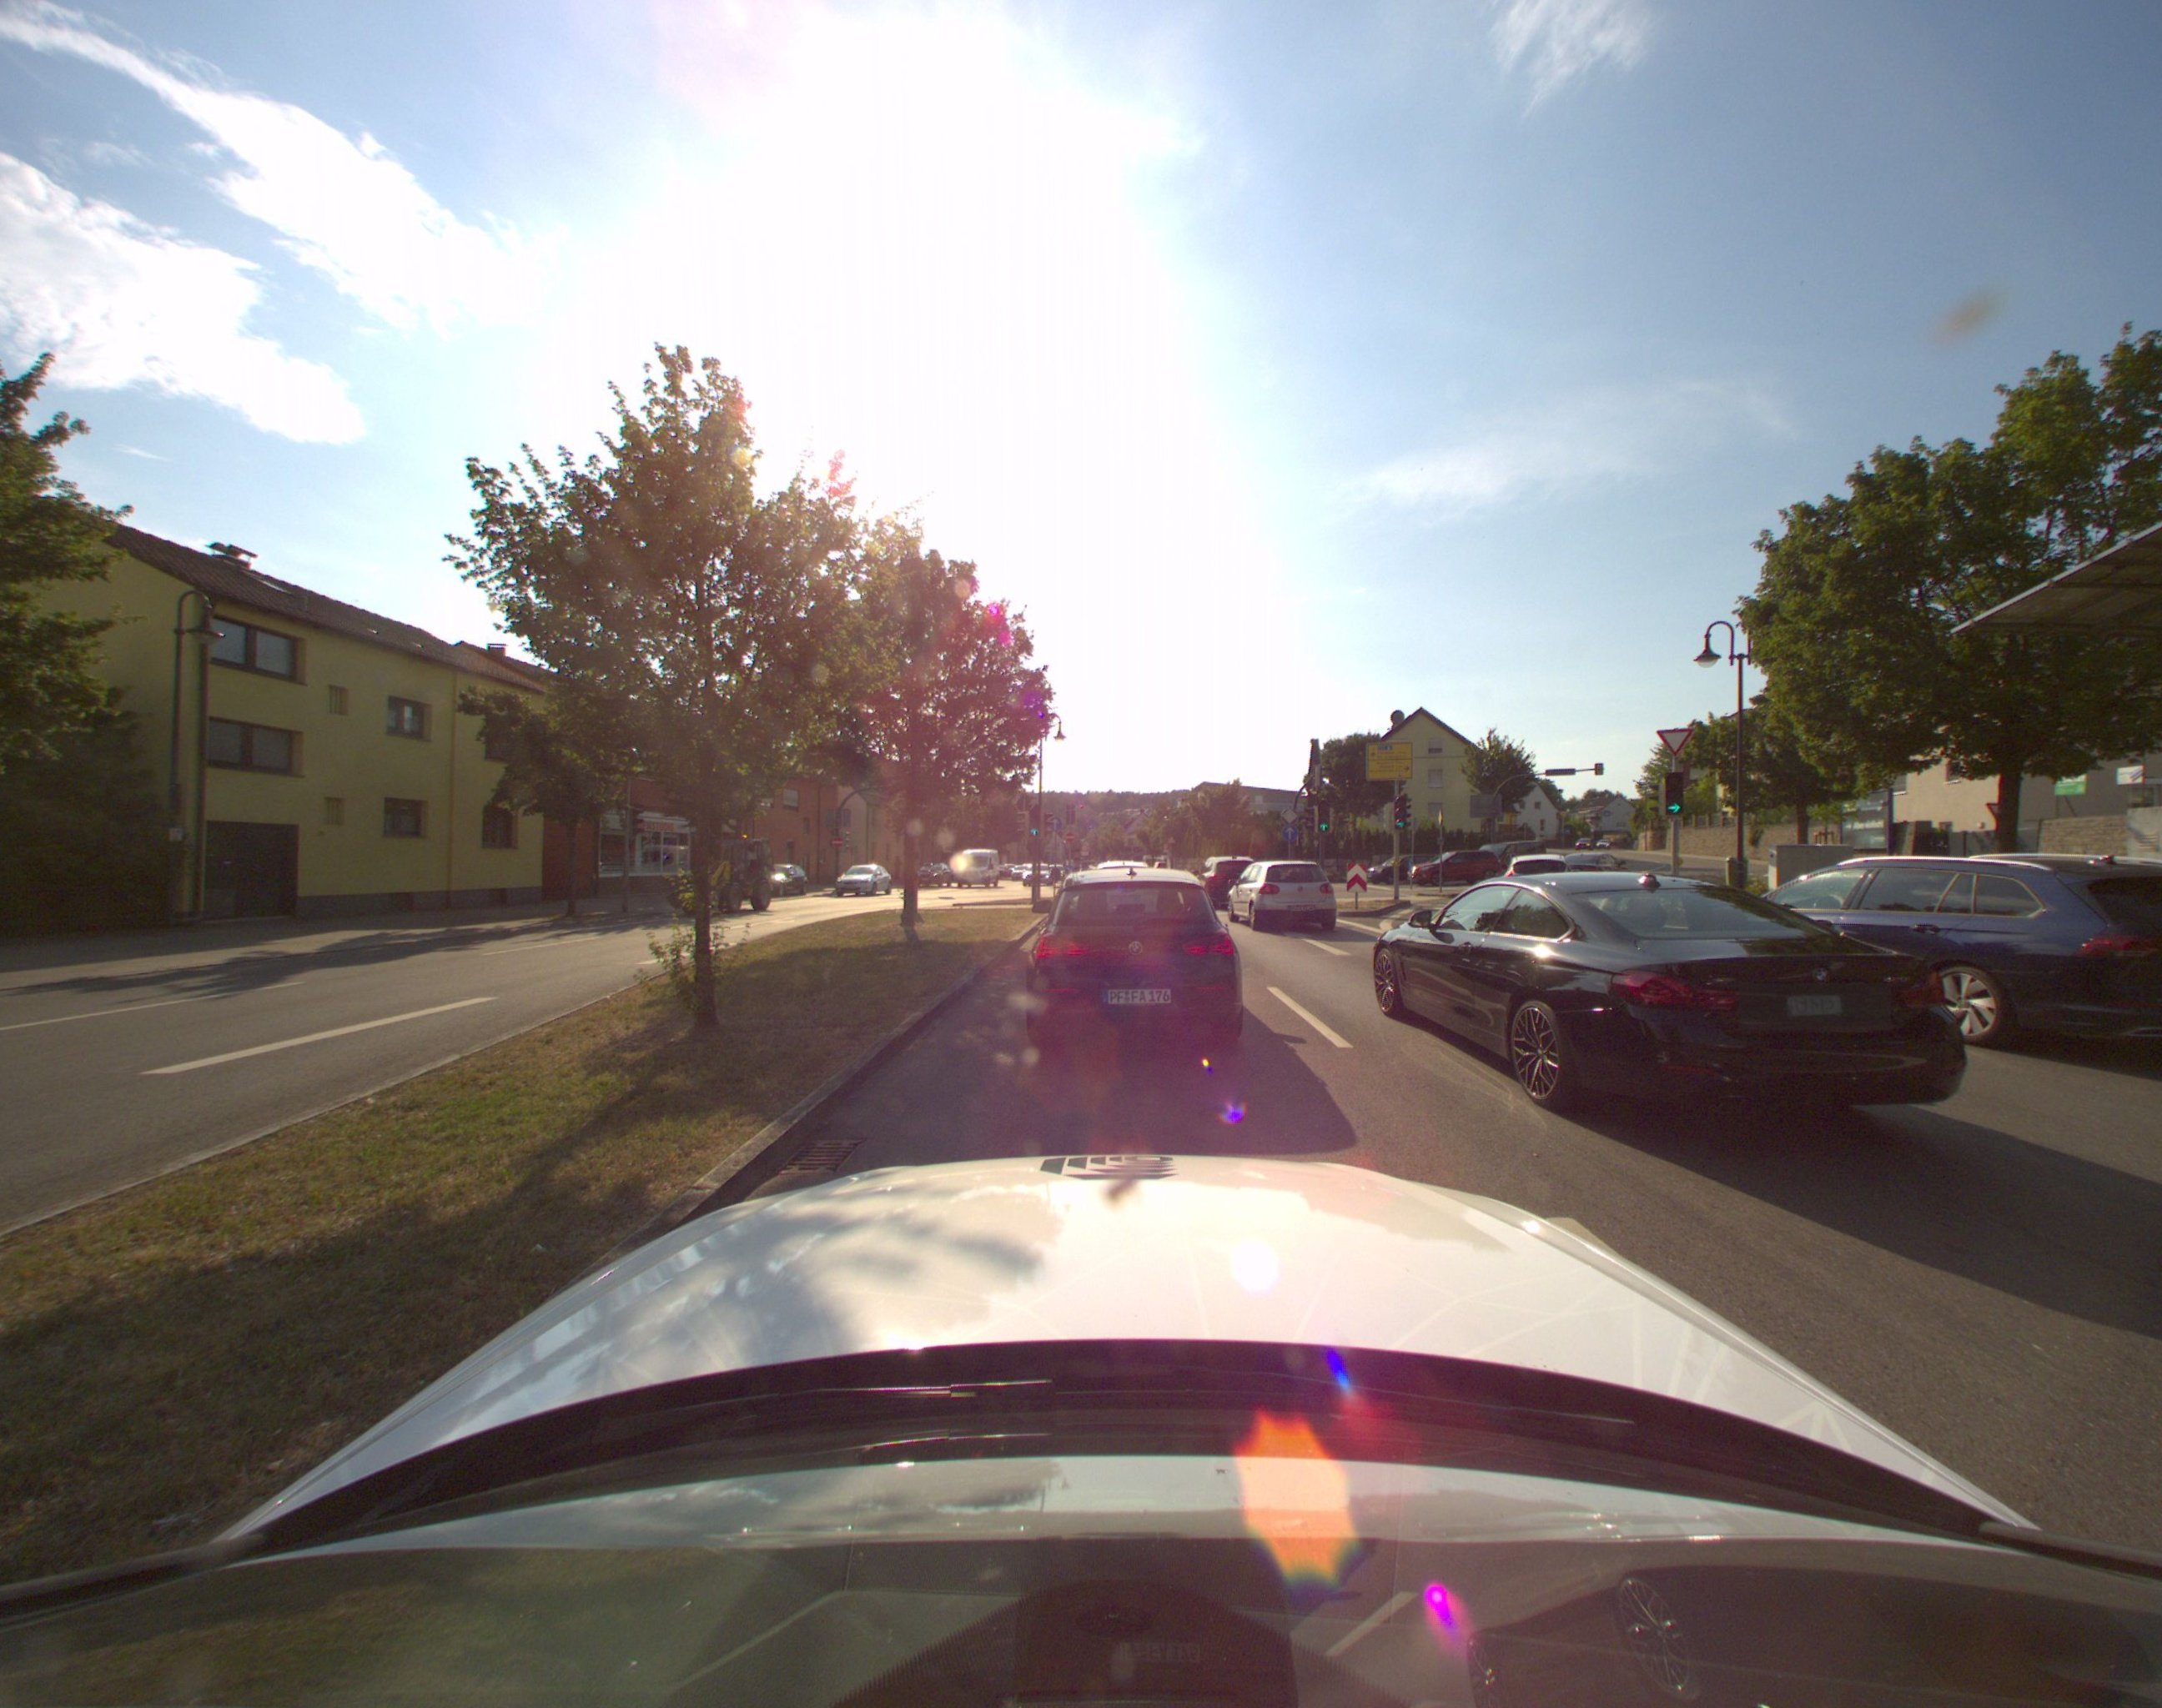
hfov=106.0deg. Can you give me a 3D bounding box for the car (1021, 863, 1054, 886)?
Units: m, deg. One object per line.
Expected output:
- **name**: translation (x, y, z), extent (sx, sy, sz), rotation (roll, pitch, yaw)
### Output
- **car**: translation (-2.930, 1.359, 55.279), extent (1.832, 1.482, 4.002), rotation (-1, 0, 2)

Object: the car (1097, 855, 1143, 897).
- **car**: translation (1.647, 0.874, 34.334), extent (1.781, 1.594, 4.283), rotation (-2, 0, 2)

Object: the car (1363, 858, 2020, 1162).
- **car**: translation (3.644, 0.758, 6.028), extent (1.755, 1.397, 4.283), rotation (-2, 0, 2)

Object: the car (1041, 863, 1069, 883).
- **car**: translation (-2.029, 1.473, 64.396), extent (1.832, 1.482, 4.002), rotation (-1, 0, 2)

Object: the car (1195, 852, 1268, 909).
- **car**: translation (4.828, 0.809, 26.611), extent (1.755, 1.656, 3.905), rotation (-2, 0, 2)

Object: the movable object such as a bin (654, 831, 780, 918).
- **movable object such as a bin**: translation (-11.219, 0.597, 25.470), extent (1.729, 2.442, 4.452), rotation (-1, -1, 3)

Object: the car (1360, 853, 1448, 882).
- **car**: translation (17.361, 0.731, 43.893), extent (3.974, 1.489, 1.848), rotation (0, 0, -1)

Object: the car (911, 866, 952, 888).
- **car**: translation (-10.172, 1.571, 55.802), extent (1.728, 1.301, 3.804), rotation (4, 0, 5)

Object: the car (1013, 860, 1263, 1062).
- **car**: translation (0.508, 0.799, 8.081), extent (1.781, 1.397, 4.283), rotation (-2, 0, 2)

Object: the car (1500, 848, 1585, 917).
- **car**: translation (11.549, 0.658, 20.296), extent (1.602, 1.542, 3.338), rotation (-2, 0, 33)

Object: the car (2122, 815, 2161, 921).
- **car**: translation (18.491, 0.198, 11.920), extent (3.793, 1.632, 1.784), rotation (0, 0, 10)

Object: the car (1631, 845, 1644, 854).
- **car**: translation (109.494, -0.891, 160.246), extent (1.945, 1.680, 4.242), rotation (-2, -1, 36)

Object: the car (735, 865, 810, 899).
- **car**: translation (-14.126, 1.252, 37.581), extent (1.730, 1.301, 4.002), rotation (4, 0, 2)

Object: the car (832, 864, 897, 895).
- **car**: translation (-10.425, 1.216, 39.473), extent (1.728, 1.301, 3.804), rotation (4, 0, 5)

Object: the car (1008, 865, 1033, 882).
- **car**: translation (-5.531, 1.813, 75.240), extent (1.831, 1.482, 4.003), rotation (-1, 0, 3)

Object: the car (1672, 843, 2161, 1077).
- **car**: translation (7.673, 0.672, 7.319), extent (1.754, 1.453, 4.323), rotation (-2, 0, 4)

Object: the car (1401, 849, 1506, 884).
- **car**: translation (18.363, 0.604, 40.270), extent (4.410, 1.641, 1.845), rotation (0, 0, -6)

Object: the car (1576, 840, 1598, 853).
- **car**: translation (70.390, -1.072, 113.305), extent (1.946, 1.680, 4.241), rotation (-2, -1, 41)

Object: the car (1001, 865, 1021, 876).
- **car**: translation (-8.791, 2.075, 102.801), extent (1.728, 1.301, 3.804), rotation (4, 0, 5)

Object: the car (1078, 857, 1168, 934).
- **car**: translation (0.944, 0.849, 18.596), extent (1.781, 1.494, 4.283), rotation (-2, 0, 2)

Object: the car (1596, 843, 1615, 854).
- **car**: translation (86.741, -0.924, 134.647), extent (1.946, 1.680, 4.241), rotation (-2, -1, 41)

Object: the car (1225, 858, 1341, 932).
- **car**: translation (4.407, 0.835, 18.327), extent (1.755, 1.426, 3.905), rotation (-2, 0, 2)

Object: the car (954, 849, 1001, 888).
- **car**: translation (-6.588, 0.927, 52.568), extent (2.076, 2.394, 5.531), rotation (0, -1, 2)

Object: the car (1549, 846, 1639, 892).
- **car**: translation (19.048, 0.524, 30.161), extent (4.423, 1.542, 1.641), rotation (-2, -1, -42)

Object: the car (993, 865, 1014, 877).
- **car**: translation (-9.278, 2.018, 97.388), extent (1.728, 1.301, 3.804), rotation (4, 0, 5)
